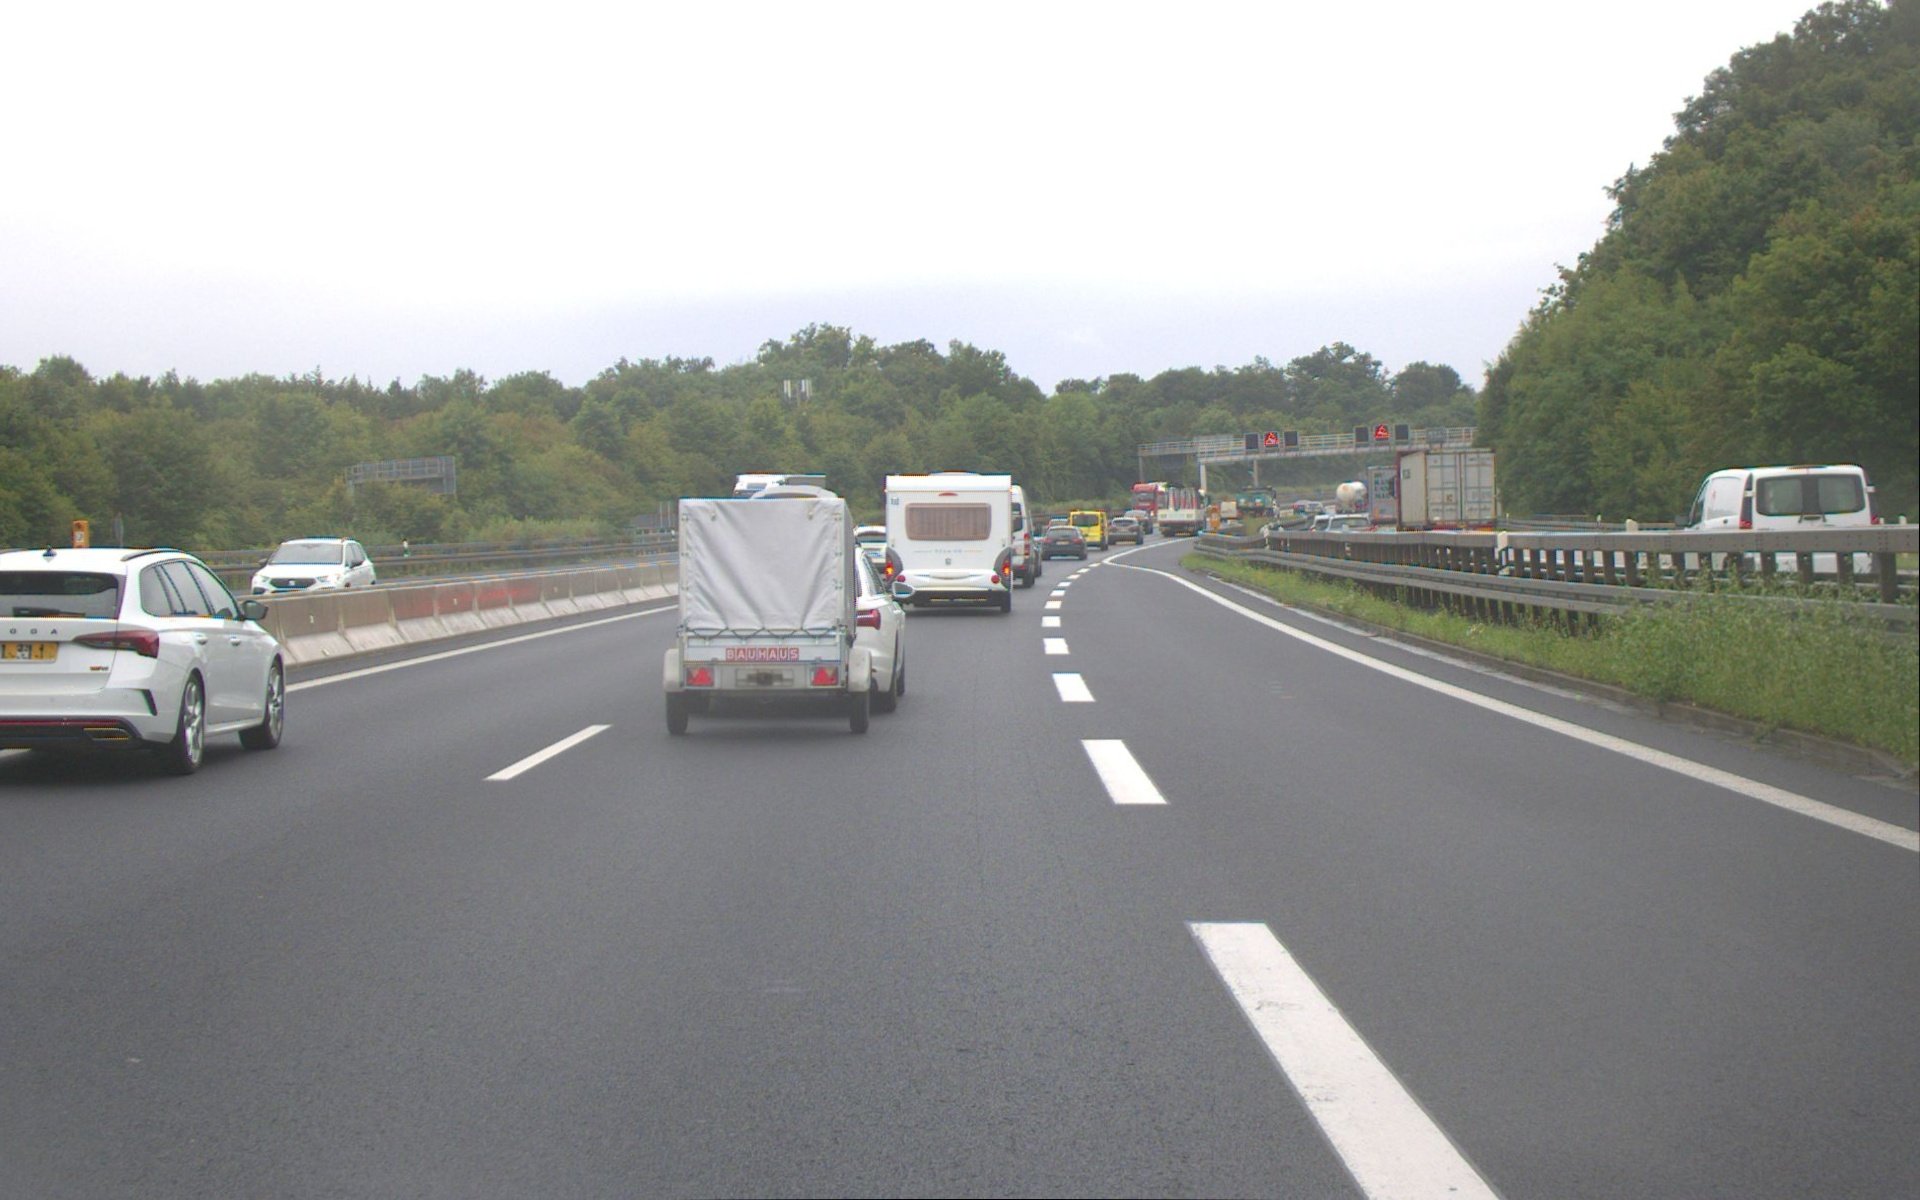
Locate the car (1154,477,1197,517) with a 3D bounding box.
[{"bbox_3d":[14.645,-6.996,233.542,2.516,2.566,5.310,-1,1,7],"label":"car"}]

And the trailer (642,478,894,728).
[{"bbox_3d":[-1.448,0.003,27.229,1.676,1.806,4.000,-1,1,1],"label":"trailer"}]

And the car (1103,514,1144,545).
[{"bbox_3d":[9.374,-4.021,196.407,2.038,1.677,3.999,-1,1,7],"label":"car"}]

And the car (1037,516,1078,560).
[{"bbox_3d":[4.104,-2.591,143.906,1.676,1.806,4.000,-1,1,2],"label":"car"}]

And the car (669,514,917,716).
[{"bbox_3d":[-1.391,0.099,30.380,1.818,1.610,4.778,-1,1,1],"label":"car"}]

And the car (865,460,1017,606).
[{"bbox_3d":[-0.287,-1.227,64.430,2.508,2.576,5.699,-1,1,3],"label":"car"}]

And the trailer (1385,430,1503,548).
[{"bbox_3d":[17.199,-3.858,122.848,2.604,3.881,12.490,-1,1,1],"label":"trailer"}]

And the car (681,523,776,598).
[{"bbox_3d":[-4.705,-0.810,70.253,1.676,1.451,4.000,-1,1,0],"label":"car"}]

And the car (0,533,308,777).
[{"bbox_3d":[-5.739,0.311,23.083,1.818,1.451,4.778,-1,1,0],"label":"car"}]

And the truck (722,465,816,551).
[{"bbox_3d":[-9.502,-4.523,172.286,2.788,4.078,12.297,-1,1,6],"label":"truck"}]

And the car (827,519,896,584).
[{"bbox_3d":[-2.939,-1.459,103.777,1.993,1.912,4.000,-1,1,-1],"label":"car"}]

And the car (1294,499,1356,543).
[{"bbox_3d":[12.440,-2.682,117.473,1.667,1.378,4.126,-3,1,1],"label":"car"}]

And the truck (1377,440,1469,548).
[{"bbox_3d":[17.331,-3.923,128.907,2.616,3.871,6.392,-1,1,1],"label":"truck"}]

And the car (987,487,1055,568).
[{"bbox_3d":[1.612,-1.872,89.786,1.676,2.060,4.000,-1,1,2],"label":"car"}]

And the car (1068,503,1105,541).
[{"bbox_3d":[6.387,-3.908,173.059,1.676,1.806,3.999,-1,1,5],"label":"car"}]

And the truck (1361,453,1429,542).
[{"bbox_3d":[24.269,-5.649,192.458,3.216,4.650,13.030,-1,1,5],"label":"truck"}]

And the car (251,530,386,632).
[{"bbox_3d":[-12.676,-0.388,68.159,1.738,1.912,4.316,-1,1,1],"label":"car"}]

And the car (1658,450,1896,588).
[{"bbox_3d":[10.684,-1.038,45.305,1.909,1.688,4.719,-1,1,-1],"label":"car"}]
